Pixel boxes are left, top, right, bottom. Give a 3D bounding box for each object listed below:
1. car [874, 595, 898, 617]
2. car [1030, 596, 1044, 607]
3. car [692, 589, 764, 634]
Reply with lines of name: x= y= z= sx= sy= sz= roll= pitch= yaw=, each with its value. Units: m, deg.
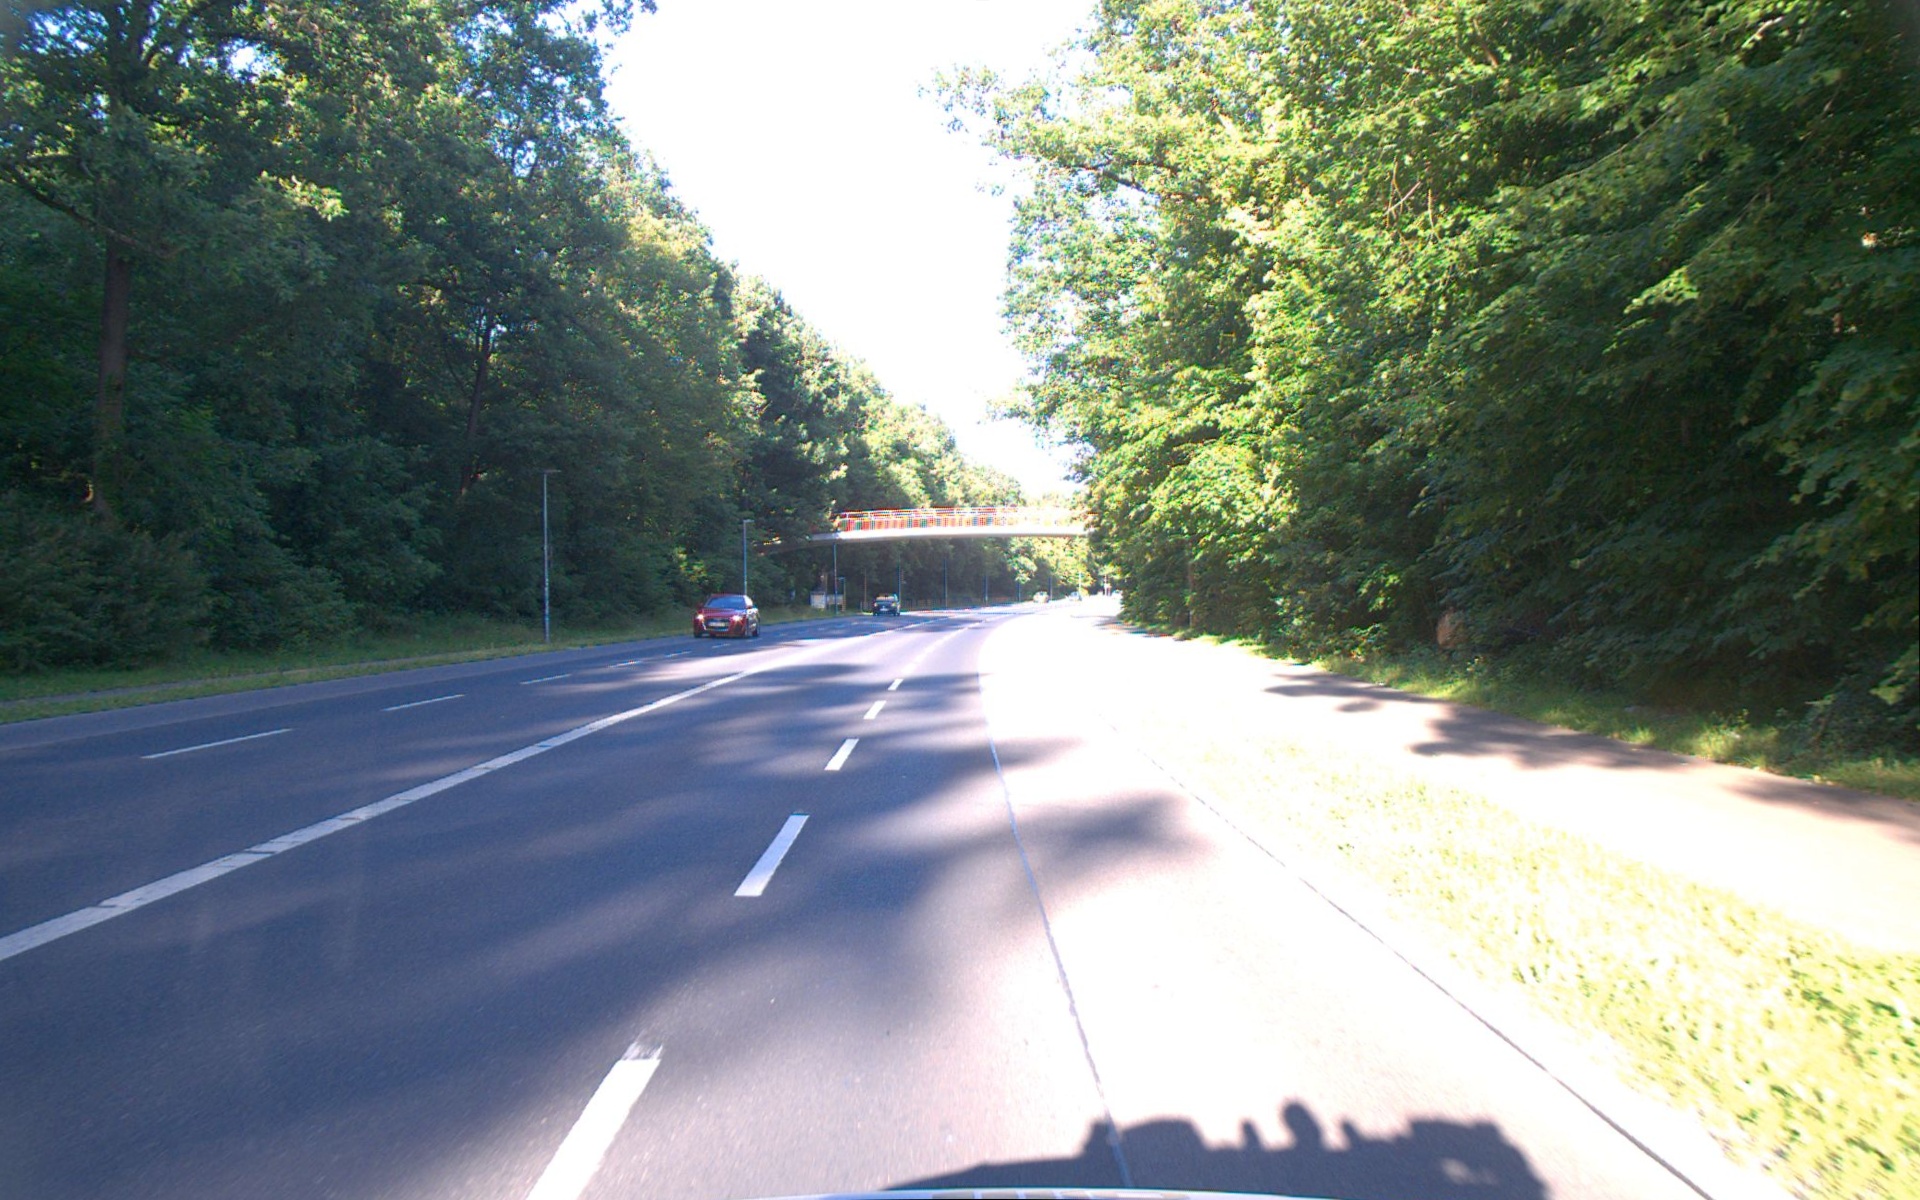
car: x=-4.905 y=0.383 z=110.084 sx=1.465 sy=1.470 sz=3.500 roll=0 pitch=0 yaw=0
car: x=10.980 y=0.224 z=235.449 sx=1.724 sy=1.610 sz=4.171 roll=1 pitch=0 yaw=6
car: x=-7.626 y=0.351 z=54.771 sx=1.674 sy=1.448 sz=4.131 roll=0 pitch=0 yaw=2
